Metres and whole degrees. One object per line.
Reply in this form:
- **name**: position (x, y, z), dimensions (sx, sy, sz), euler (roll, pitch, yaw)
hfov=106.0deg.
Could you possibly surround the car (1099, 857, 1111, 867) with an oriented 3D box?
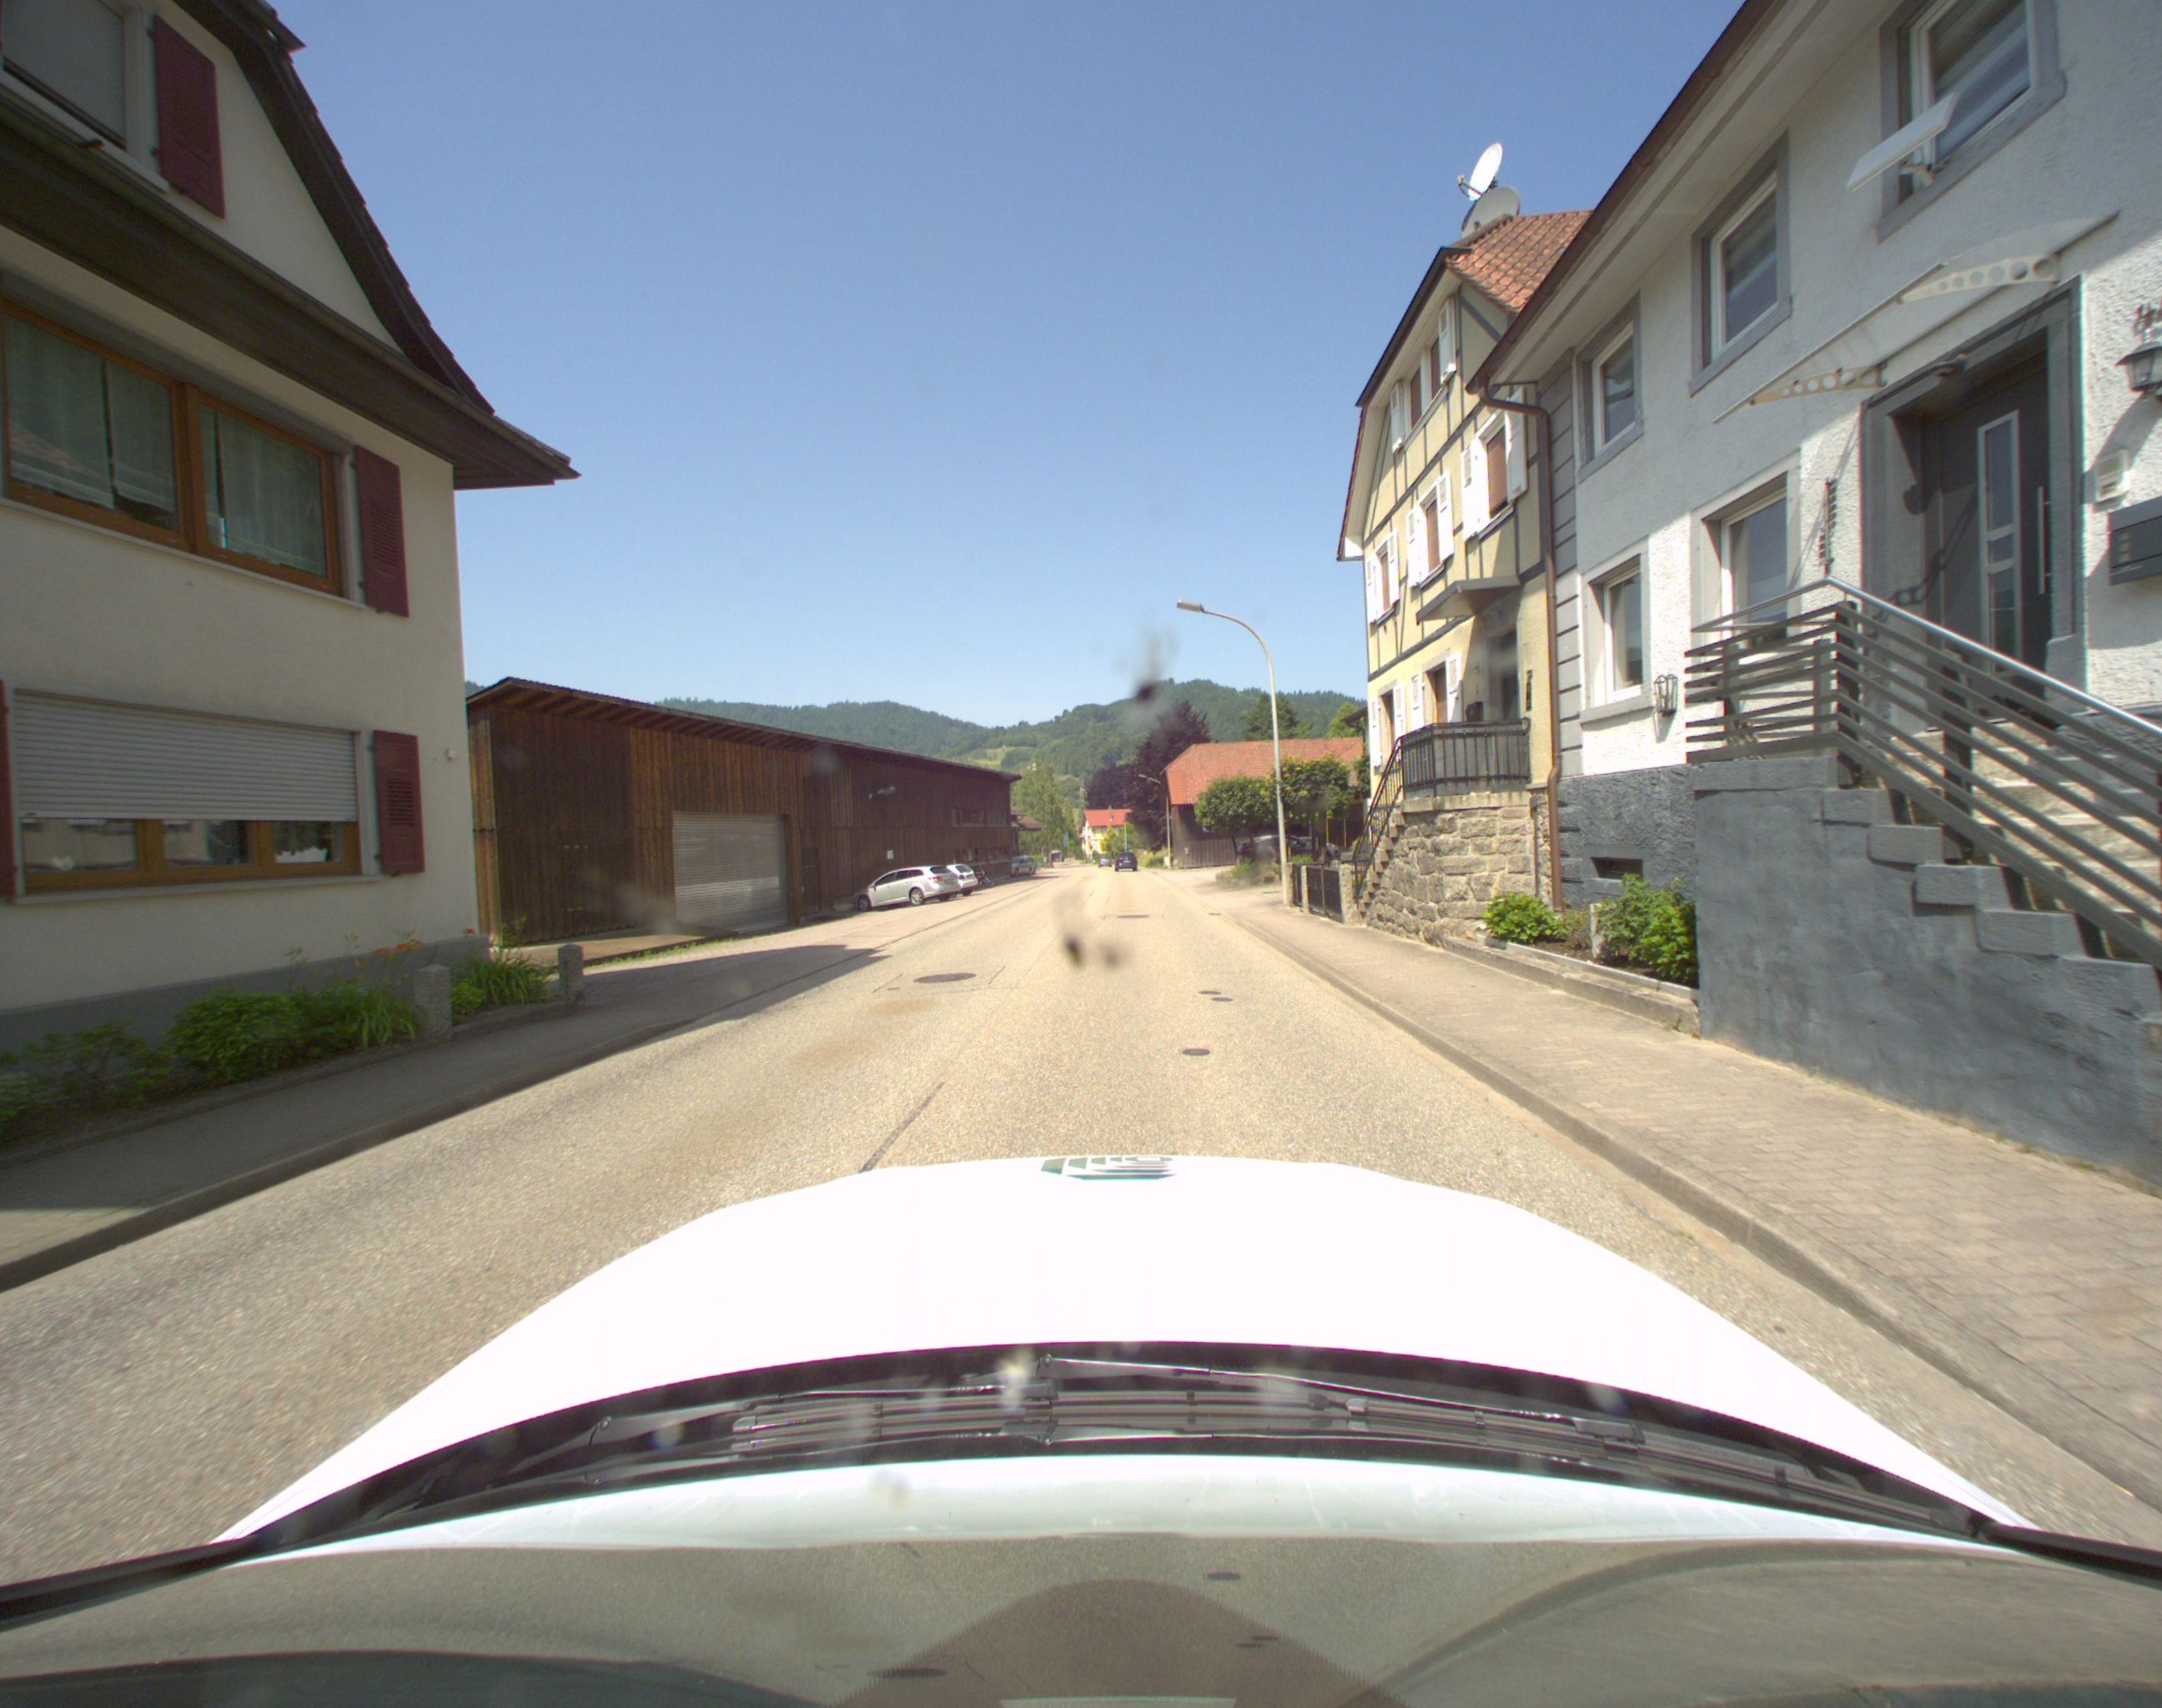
- **car**: position (3.260, 1.044, 110.257), dimensions (1.473, 1.209, 2.382), euler (-4, 0, -2)

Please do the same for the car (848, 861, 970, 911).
- **car**: position (-6.842, 1.289, 32.381), dimensions (4.387, 1.474, 1.936), euler (-7, -1, 28)

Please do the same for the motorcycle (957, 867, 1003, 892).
- **motorcycle**: position (-5.645, 1.414, 45.629), dimensions (2.392, 1.264, 0.746), euler (-3, 0, 12)

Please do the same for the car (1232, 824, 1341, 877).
- **car**: position (8.737, -0.135, 34.936), dimensions (4.200, 1.687, 1.780), euler (-7, -1, 6)

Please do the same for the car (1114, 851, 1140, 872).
- **car**: position (3.854, 0.627, 68.947), dimensions (1.913, 1.698, 3.788), euler (-3, 0, 1)

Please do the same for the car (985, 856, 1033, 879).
- **car**: position (-5.163, 0.951, 58.982), dimensions (1.715, 1.454, 4.826), euler (-2, 1, 16)

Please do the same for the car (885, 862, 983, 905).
- **car**: position (-6.327, 1.266, 35.051), dimensions (3.630, 1.385, 1.719), euler (-7, -1, 17)
